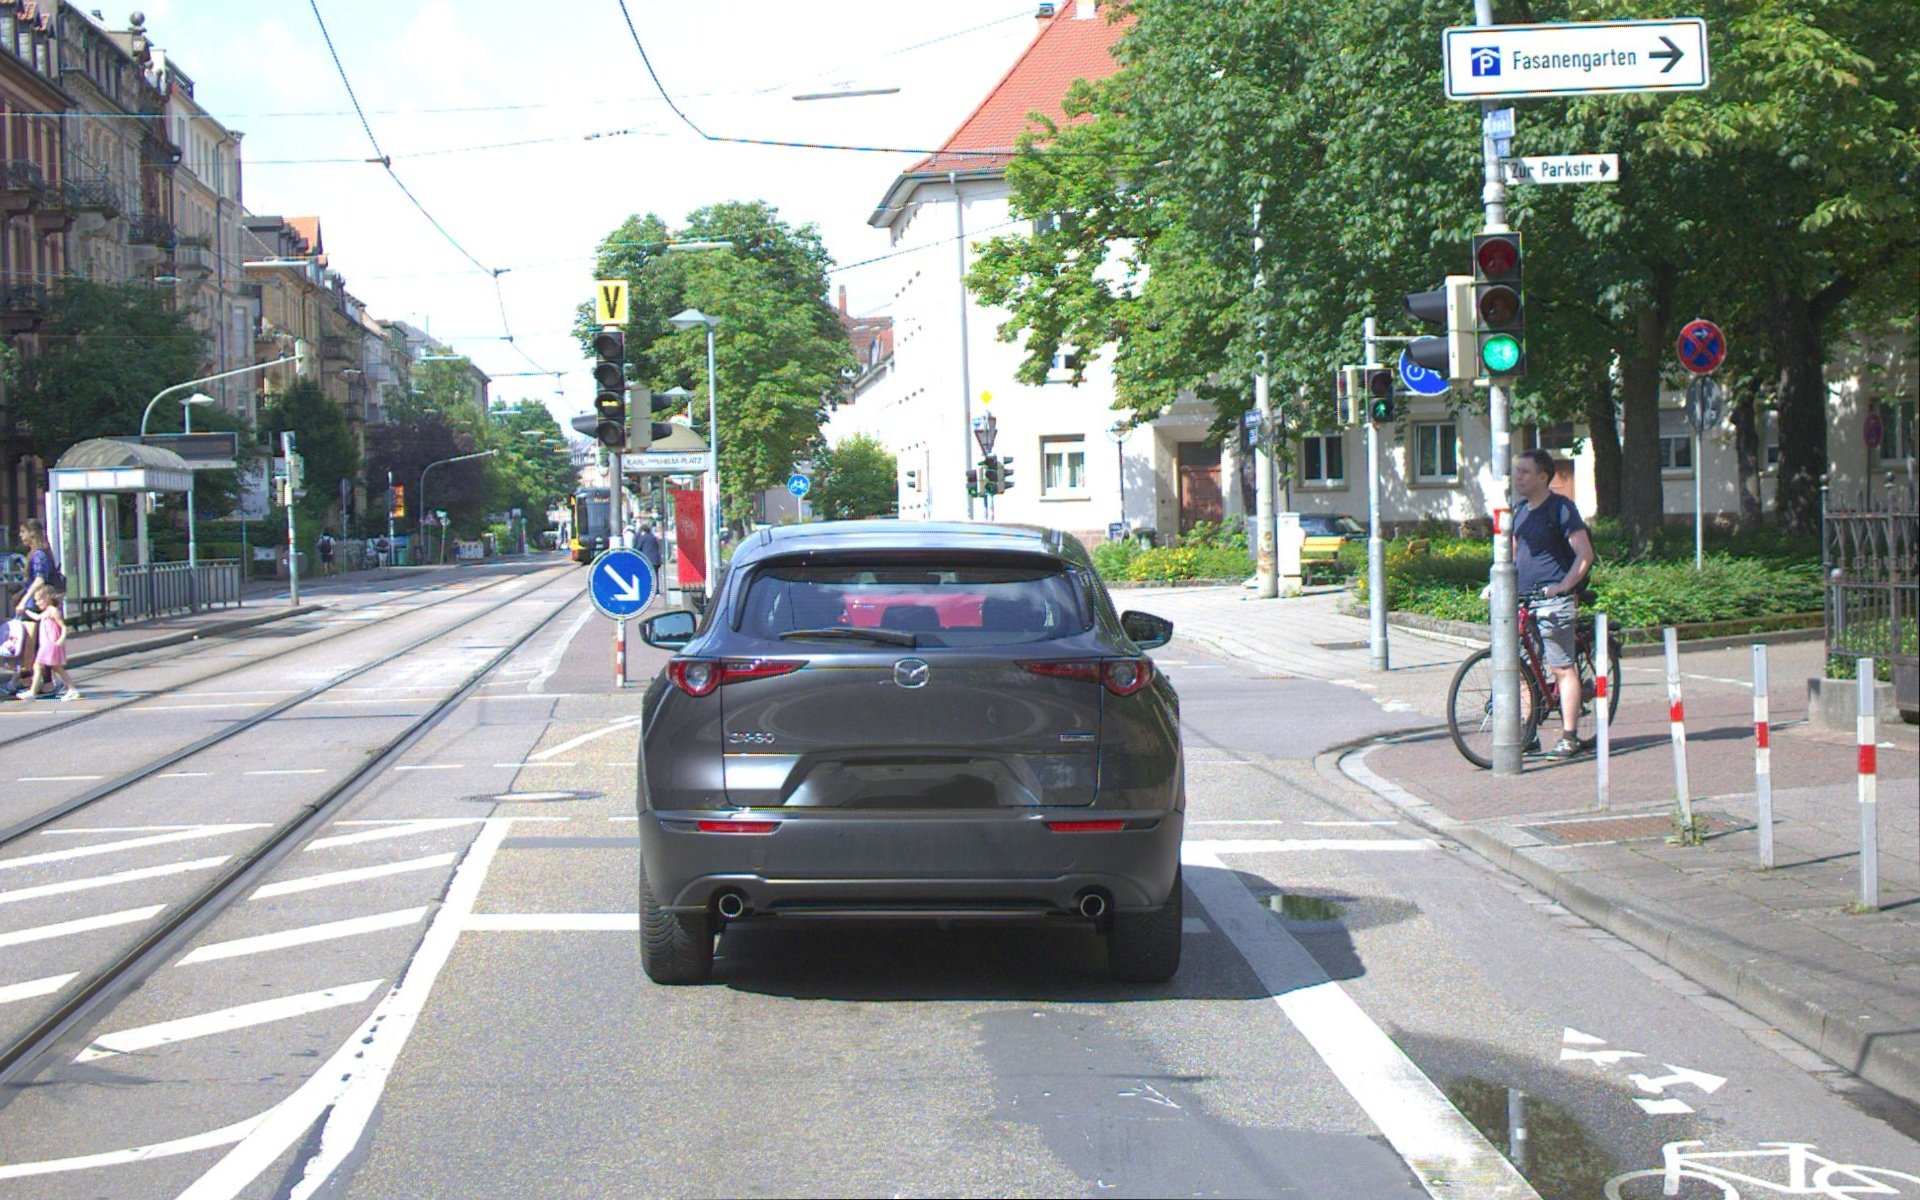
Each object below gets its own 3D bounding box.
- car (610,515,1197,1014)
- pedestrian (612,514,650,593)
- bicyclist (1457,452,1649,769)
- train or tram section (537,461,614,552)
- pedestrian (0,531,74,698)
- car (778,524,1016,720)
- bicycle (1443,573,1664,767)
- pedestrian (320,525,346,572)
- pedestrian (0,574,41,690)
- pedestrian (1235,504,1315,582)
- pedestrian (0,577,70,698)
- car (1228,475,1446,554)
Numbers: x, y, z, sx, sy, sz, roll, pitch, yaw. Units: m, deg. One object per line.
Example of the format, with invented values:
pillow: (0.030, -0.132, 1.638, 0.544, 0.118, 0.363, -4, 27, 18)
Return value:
car: (-0.196, 0.472, 12.528, 1.782, 1.509, 4.000, 1, 1, -1)
pedestrian: (-7.062, -1.009, 73.857, 0.770, 1.669, 0.668, -2, 1, -5)
bicyclist: (3.504, 0.049, 20.340, 0.733, 1.813, 0.820, -2, 1, -27)
train or tram section: (-18.277, -4.384, 164.059, 2.997, 3.970, 13.811, -2, 1, -4)
pedestrian: (-8.933, 0.131, 32.953, 0.728, 1.560, 0.799, -2, 1, -9)
car: (-0.566, 0.122, 27.529, 1.775, 1.459, 3.843, 0, 1, -3)
bicycle: (3.551, 0.396, 20.459, 0.389, 1.032, 1.841, -1, 2, 40)
pedestrian: (-22.756, -1.872, 124.709, 0.788, 1.682, 0.732, -1, 1, -3)
pedestrian: (-9.291, 0.311, 33.691, 0.437, 1.104, 0.423, -4, 1, -9)
pedestrian: (5.417, -0.982, 59.110, 1.192, 1.264, 0.558, -4, 1, -9)
pedestrian: (-8.756, 0.353, 32.386, 0.641, 1.110, 0.444, -2, 1, -9)
car: (7.907, -1.798, 72.249, 4.167, 1.504, 1.848, 0, 3, 38)
